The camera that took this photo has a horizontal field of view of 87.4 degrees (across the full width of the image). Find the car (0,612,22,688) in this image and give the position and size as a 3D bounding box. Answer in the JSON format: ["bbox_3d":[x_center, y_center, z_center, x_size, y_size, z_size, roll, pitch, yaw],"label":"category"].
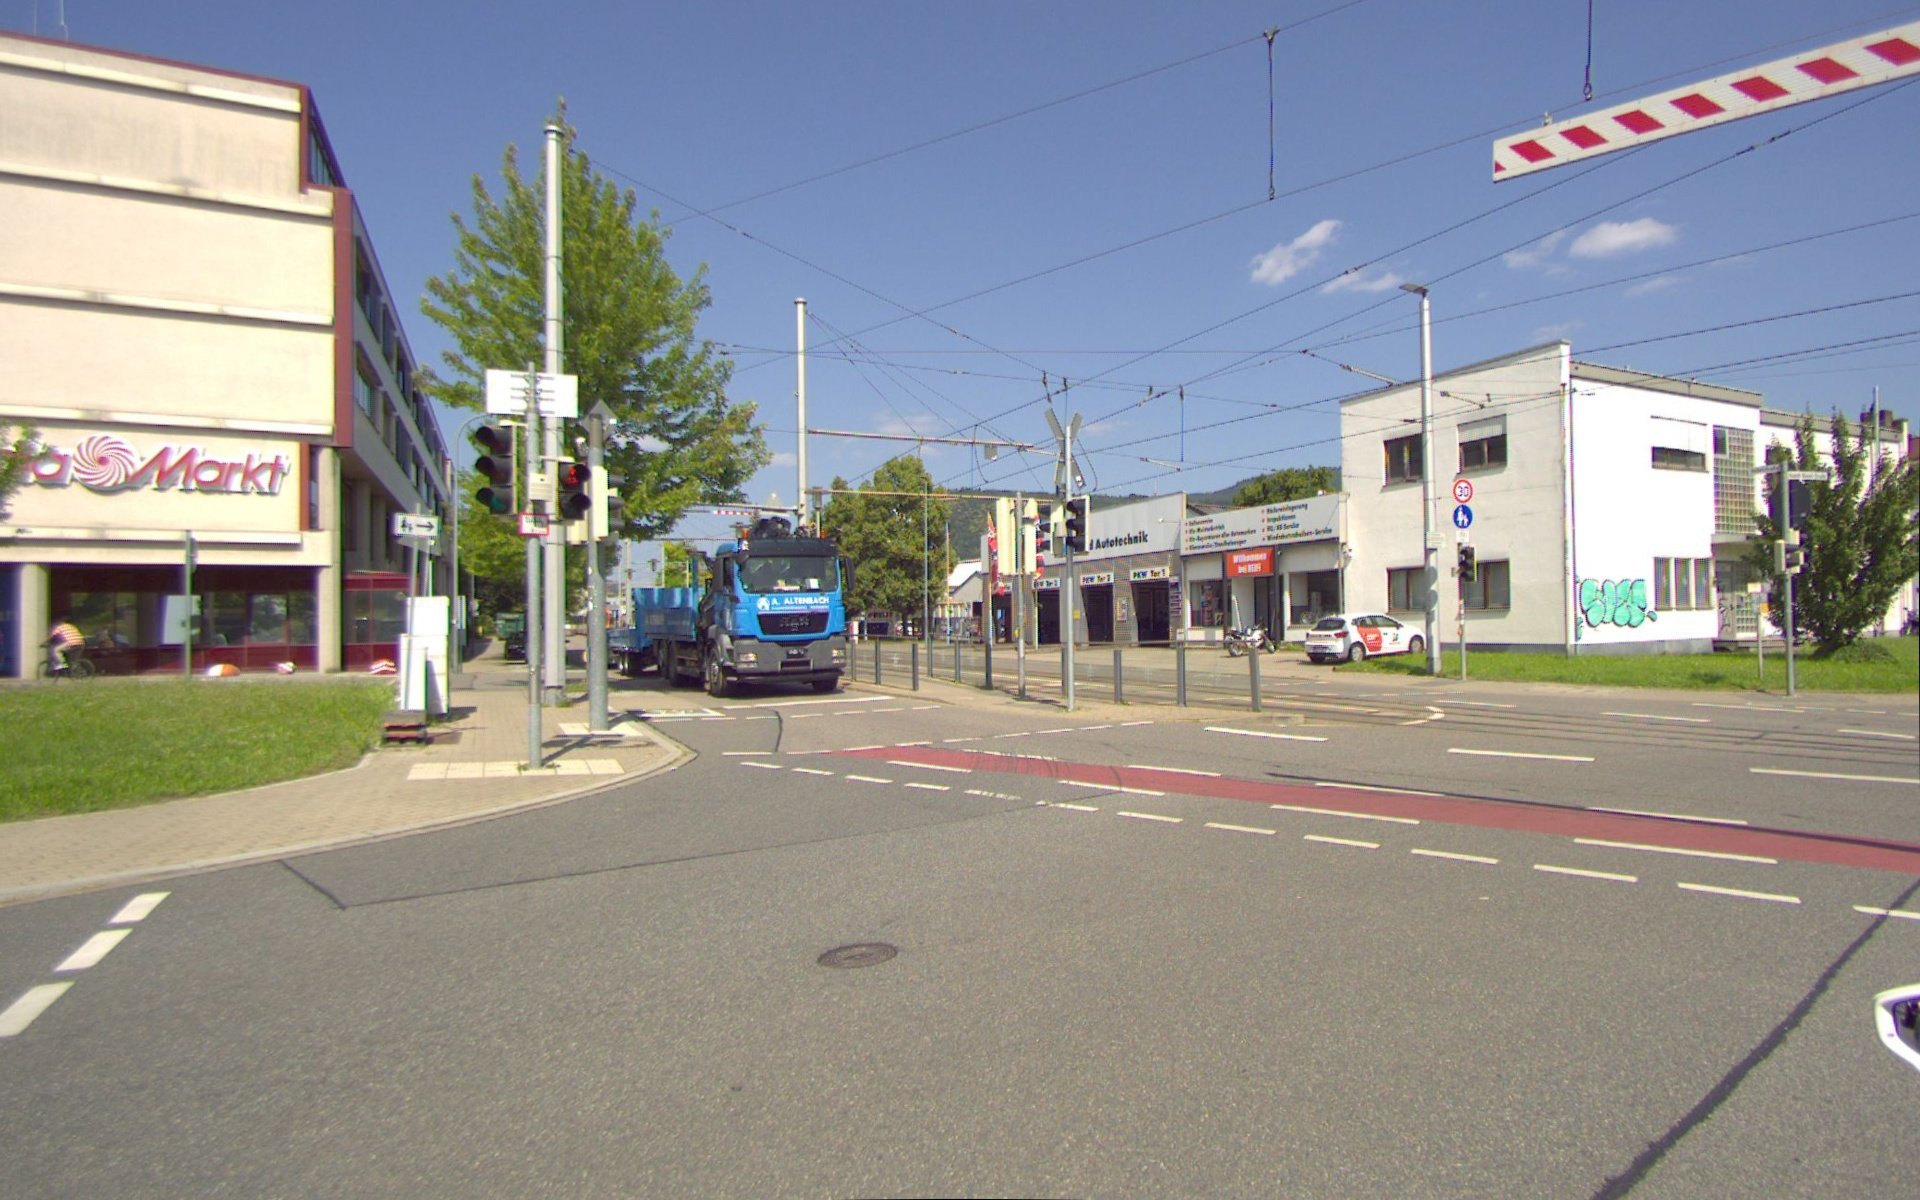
[{"bbox_3d":[-21.968,0.983,19.535,2.143,1.614,5.121,-3,-4,12],"label":"car"}]

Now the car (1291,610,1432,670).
[{"bbox_3d":[12.392,1.202,30.992,3.948,1.482,1.877,-4,0,-27],"label":"car"}]

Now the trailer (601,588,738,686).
[{"bbox_3d":[-9.239,1.078,31.290,2.769,2.663,7.550,0,-1,-27],"label":"trailer"}]

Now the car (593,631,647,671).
[{"bbox_3d":[-15.219,2.224,44.852,1.705,1.605,4.045,-3,0,-26],"label":"car"}]

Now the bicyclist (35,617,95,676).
[{"bbox_3d":[-22.680,1.172,25.473,0.909,1.467,0.719,1,-1,-23],"label":"bicyclist"}]

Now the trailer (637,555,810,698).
[{"bbox_3d":[-6.046,0.635,24.803,2.716,3.017,6.854,0,-1,-26],"label":"trailer"}]

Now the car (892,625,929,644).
[{"bbox_3d":[-4.091,2.827,82.135,1.725,1.479,3.976,0,-1,-25],"label":"car"}]

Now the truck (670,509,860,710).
[{"bbox_3d":[-4.269,0.218,21.133,2.716,3.656,5.007,0,-1,-26],"label":"truck"}]

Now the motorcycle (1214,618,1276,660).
[{"bbox_3d":[10.305,1.403,36.265,2.162,1.326,0.726,-4,0,-27],"label":"motorcycle"}]

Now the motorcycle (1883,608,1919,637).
[{"bbox_3d":[35.501,0.835,37.483,2.536,1.046,0.848,2,-1,-30],"label":"motorcycle"}]

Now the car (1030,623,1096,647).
[{"bbox_3d":[6.299,2.147,61.453,3.729,1.394,1.711,0,-1,-30],"label":"car"}]

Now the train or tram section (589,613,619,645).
[{"bbox_3d":[-40.730,3.300,114.890,2.584,3.579,5.706,-1,-1,-26],"label":"train or tram section"}]

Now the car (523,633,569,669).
[{"bbox_3d":[-17.996,2.191,43.593,1.704,1.482,3.881,1,-2,-24],"label":"car"}]

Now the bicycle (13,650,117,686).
[{"bbox_3d":[-22.670,1.721,25.480,1.816,0.860,0.724,1,-1,-23],"label":"bicycle"}]

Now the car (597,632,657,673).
[{"bbox_3d":[-13.313,2.049,40.042,1.705,1.492,4.252,-2,-1,-26],"label":"car"}]
